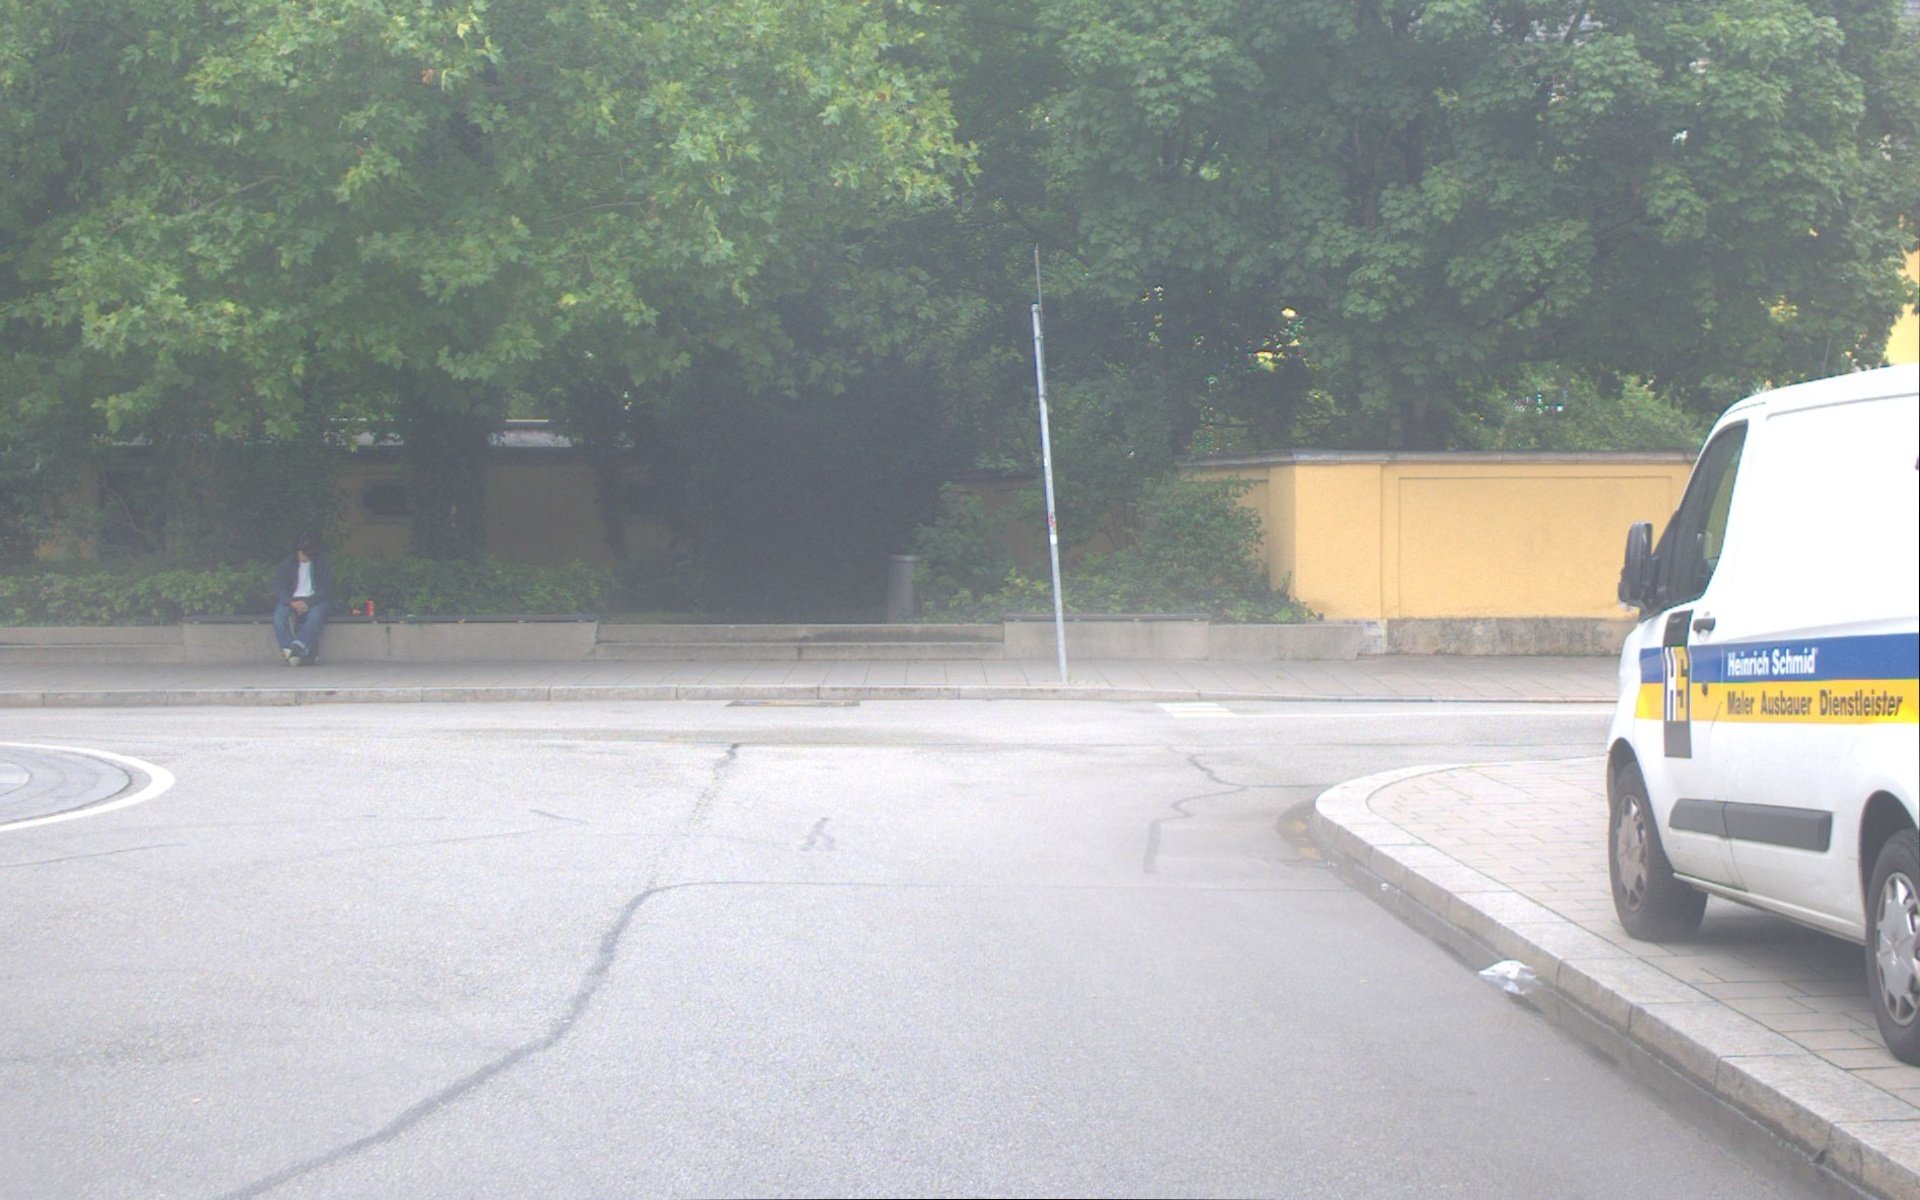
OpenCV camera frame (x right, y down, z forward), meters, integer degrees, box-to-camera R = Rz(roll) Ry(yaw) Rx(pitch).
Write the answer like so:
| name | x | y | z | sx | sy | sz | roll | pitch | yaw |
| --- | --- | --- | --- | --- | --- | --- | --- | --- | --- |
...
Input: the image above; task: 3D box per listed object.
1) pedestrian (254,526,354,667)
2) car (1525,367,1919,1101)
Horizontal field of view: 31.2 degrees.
| name | x | y | z | sx | sy | sz | roll | pitch | yaw |
| --- | --- | --- | --- | --- | --- | --- | --- | --- | --- |
| pedestrian | -6.351 | -0.045 | 33.331 | 0.769 | 1.352 | 1.131 | 0 | 1 | -1 |
| car | 3.359 | 0.291 | 10.949 | 1.938 | 1.915 | 5.375 | -1 | 1 | -3 |
